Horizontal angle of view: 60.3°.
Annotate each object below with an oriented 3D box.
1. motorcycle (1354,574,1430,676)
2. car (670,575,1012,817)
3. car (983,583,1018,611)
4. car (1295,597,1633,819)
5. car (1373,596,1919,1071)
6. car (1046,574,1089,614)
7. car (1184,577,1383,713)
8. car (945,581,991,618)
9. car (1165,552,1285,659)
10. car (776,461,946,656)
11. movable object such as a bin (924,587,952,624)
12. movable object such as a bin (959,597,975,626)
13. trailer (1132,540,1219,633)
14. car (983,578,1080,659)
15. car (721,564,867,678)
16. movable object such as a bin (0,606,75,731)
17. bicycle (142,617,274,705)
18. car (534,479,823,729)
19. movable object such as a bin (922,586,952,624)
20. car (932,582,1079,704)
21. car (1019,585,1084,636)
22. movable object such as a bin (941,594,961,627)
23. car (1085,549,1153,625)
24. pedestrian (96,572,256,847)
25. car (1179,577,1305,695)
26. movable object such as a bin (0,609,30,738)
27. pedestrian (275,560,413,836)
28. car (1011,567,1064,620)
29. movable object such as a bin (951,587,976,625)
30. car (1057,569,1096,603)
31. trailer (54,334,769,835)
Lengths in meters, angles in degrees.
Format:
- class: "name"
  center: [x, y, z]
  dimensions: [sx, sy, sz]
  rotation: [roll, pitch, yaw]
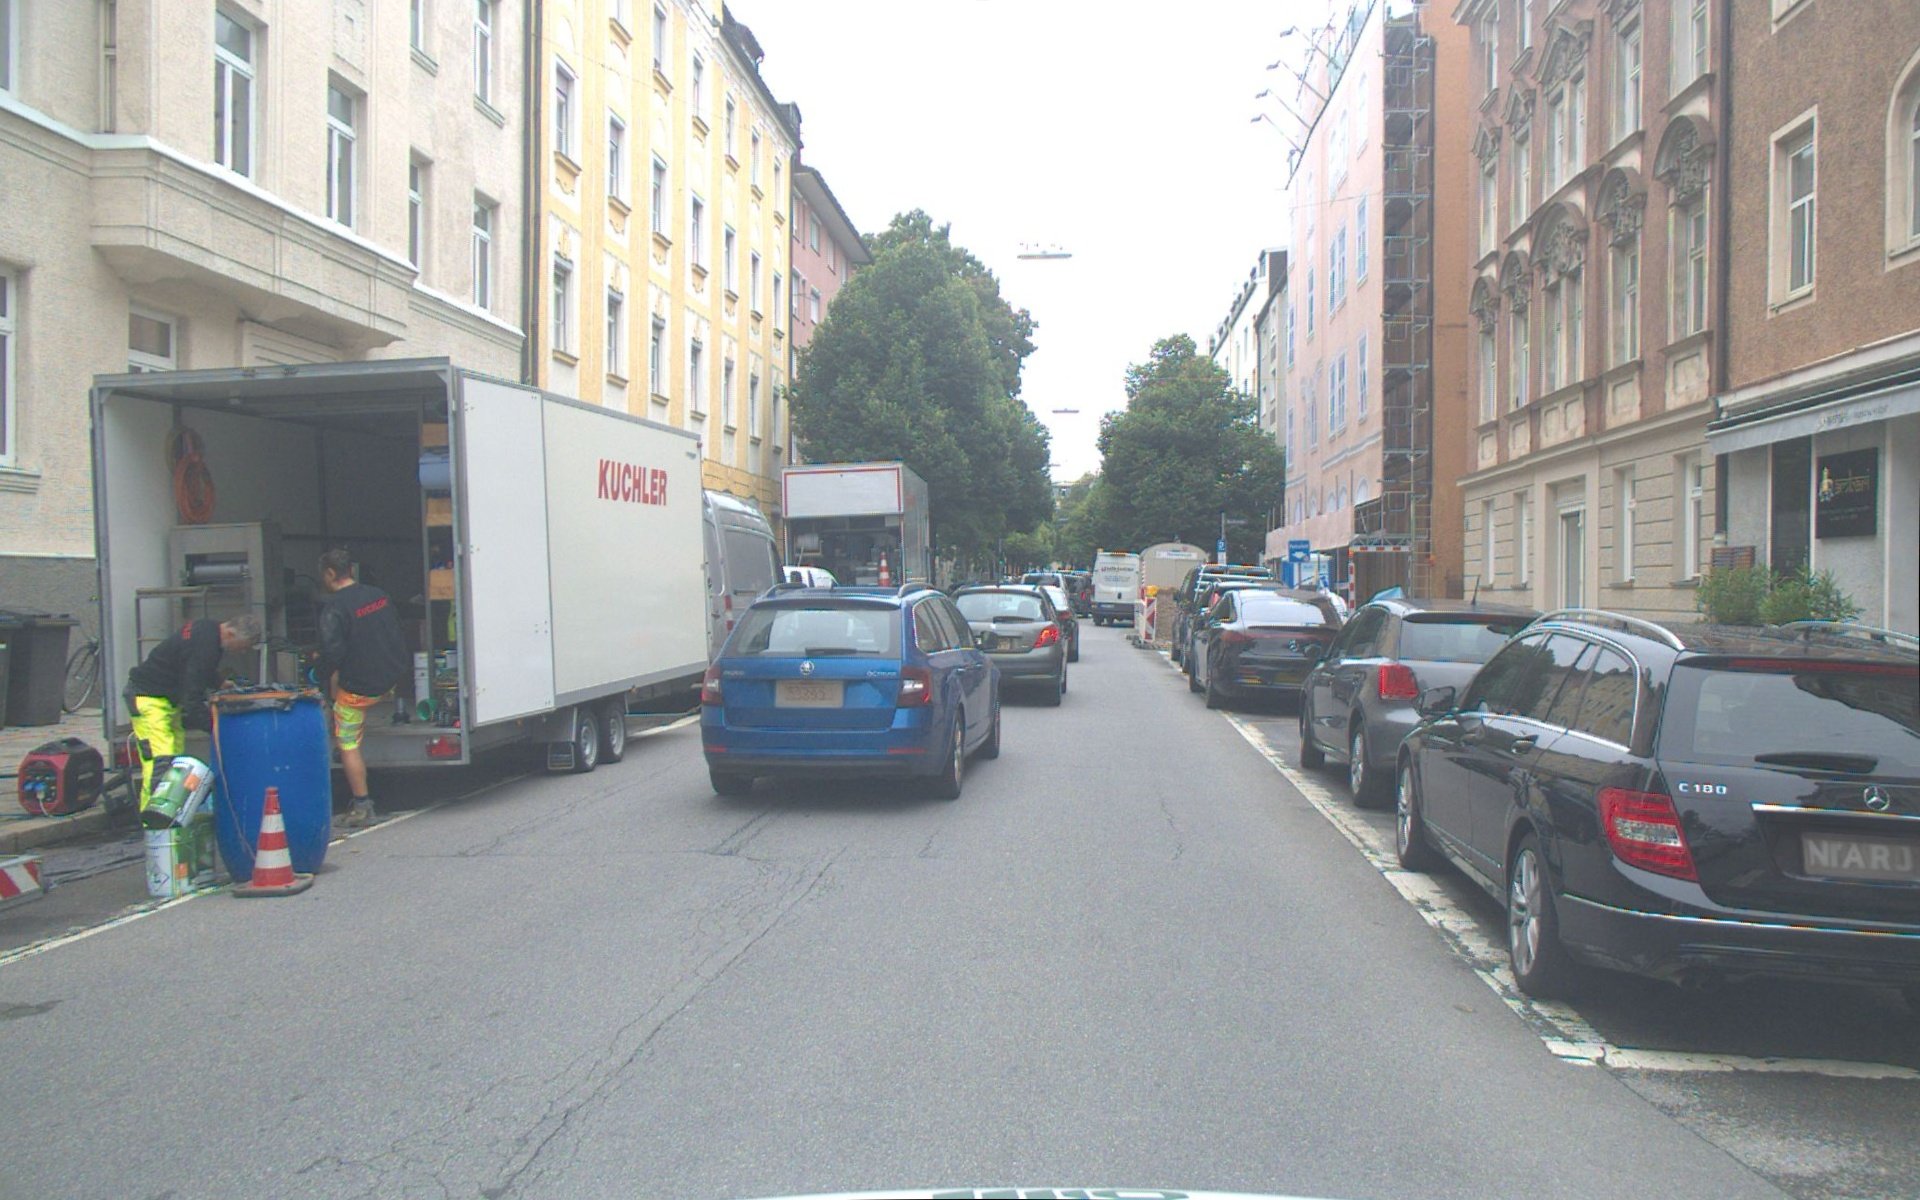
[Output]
- class: "motorcycle"
  center: [6.783, 0.374, 26.069]
  dimensions: [0.853, 1.531, 1.998]
  rotation: [1, 0, 6]
- class: "car"
  center: [-0.686, 0.575, 12.419]
  dimensions: [1.751, 1.486, 4.318]
  rotation: [0, 0, 7]
- class: "car"
  center: [2.285, -0.176, 92.847]
  dimensions: [1.774, 1.504, 4.002]
  rotation: [1, 1, 4]
- class: "car"
  center: [3.646, 0.686, 12.673]
  dimensions: [1.539, 1.419, 4.184]
  rotation: [0, 0, 3]
- class: "car"
  center: [3.201, 0.719, 7.472]
  dimensions: [1.808, 1.429, 4.791]
  rotation: [1, 0, 4]
- class: "car"
  center: [4.802, -0.306, 73.713]
  dimensions: [1.828, 1.681, 4.350]
  rotation: [2, 1, 4]
- class: "car"
  center: [4.215, 0.504, 22.446]
  dimensions: [1.890, 1.580, 5.639]
  rotation: [1, 1, 3]
- class: "car"
  center: [0.363, -0.045, 70.139]
  dimensions: [1.774, 1.504, 4.002]
  rotation: [1, 1, 2]
- class: "car"
  center: [5.322, 0.195, 33.806]
  dimensions: [2.038, 1.954, 5.143]
  rotation: [2, -2, 5]
- class: "car"
  center: [-2.018, -0.843, 37.403]
  dimensions: [2.753, 3.884, 8.728]
  rotation: [0, 0, 4]
- class: "movable object such as a bin"
  center: [-0.842, 0.204, 63.399]
  dimensions: [1.035, 1.400, 1.095]
  rotation: [-2, 1, 0]
- class: "movable object such as a bin"
  center: [0.267, 0.412, 61.448]
  dimensions: [0.535, 1.038, 0.636]
  rotation: [-2, 0, 1]
- class: "trailer"
  center: [7.205, -0.428, 55.907]
  dimensions: [2.449, 2.889, 6.905]
  rotation: [2, 0, 4]
- class: "car"
  center: [1.502, 0.334, 33.972]
  dimensions: [1.828, 1.479, 4.349]
  rotation: [2, 1, 3]
- class: "car"
  center: [-2.828, 0.333, 29.093]
  dimensions: [1.725, 1.810, 4.329]
  rotation: [-1, 0, 5]
- class: "movable object such as a bin"
  center: [-8.796, 0.632, 15.521]
  dimensions: [0.658, 1.148, 0.555]
  rotation: [0, 0, 7]
- class: "bicycle"
  center: [-8.494, 0.665, 18.741]
  dimensions: [0.386, 0.930, 1.589]
  rotation: [3, 0, 16]
- class: "car"
  center: [-3.395, 0.013, 21.686]
  dimensions: [2.013, 2.632, 6.880]
  rotation: [-4, 0, 4]
- class: "movable object such as a bin"
  center: [-0.851, 0.190, 62.296]
  dimensions: [1.059, 1.400, 1.084]
  rotation: [-2, 1, 0]
- class: "car"
  center: [0.672, 0.508, 21.515]
  dimensions: [1.704, 1.446, 3.666]
  rotation: [0, 0, 5]
- class: "car"
  center: [2.809, 0.275, 49.945]
  dimensions: [1.828, 1.371, 4.350]
  rotation: [2, 1, 4]
- class: "movable object such as a bin"
  center: [-0.341, 0.387, 61.428]
  dimensions: [0.696, 1.168, 0.636]
  rotation: [-2, 0, 1]
- class: "car"
  center: [6.119, -0.475, 63.099]
  dimensions: [2.067, 2.710, 5.505]
  rotation: [2, 0, 10]
- class: "pedestrian"
  center: [-4.740, 0.637, 10.043]
  dimensions: [0.748, 1.608, 0.635]
  rotation: [0, 0, -13]
- class: "car"
  center: [4.623, 0.550, 27.634]
  dimensions: [1.658, 1.705, 4.410]
  rotation: [3, 0, 5]
- class: "movable object such as a bin"
  center: [-8.895, 0.660, 14.955]
  dimensions: [0.634, 1.148, 0.555]
  rotation: [0, 0, 7]
- class: "pedestrian"
  center: [-3.848, 0.589, 10.376]
  dimensions: [0.748, 1.659, 0.634]
  rotation: [0, 0, -15]
- class: "car"
  center: [2.988, -0.287, 63.238]
  dimensions: [1.828, 1.902, 4.350]
  rotation: [2, 1, 4]
- class: "movable object such as a bin"
  center: [0.128, 0.230, 62.313]
  dimensions: [0.899, 1.400, 1.080]
  rotation: [-2, 1, 0]
- class: "car"
  center: [6.096, -0.757, 86.665]
  dimensions: [1.966, 1.681, 4.349]
  rotation: [2, 1, 3]
- class: "trailer"
  center: [-3.923, -0.156, 14.200]
  dimensions: [2.744, 3.020, 7.606]
  rotation: [-3, 1, 6]
